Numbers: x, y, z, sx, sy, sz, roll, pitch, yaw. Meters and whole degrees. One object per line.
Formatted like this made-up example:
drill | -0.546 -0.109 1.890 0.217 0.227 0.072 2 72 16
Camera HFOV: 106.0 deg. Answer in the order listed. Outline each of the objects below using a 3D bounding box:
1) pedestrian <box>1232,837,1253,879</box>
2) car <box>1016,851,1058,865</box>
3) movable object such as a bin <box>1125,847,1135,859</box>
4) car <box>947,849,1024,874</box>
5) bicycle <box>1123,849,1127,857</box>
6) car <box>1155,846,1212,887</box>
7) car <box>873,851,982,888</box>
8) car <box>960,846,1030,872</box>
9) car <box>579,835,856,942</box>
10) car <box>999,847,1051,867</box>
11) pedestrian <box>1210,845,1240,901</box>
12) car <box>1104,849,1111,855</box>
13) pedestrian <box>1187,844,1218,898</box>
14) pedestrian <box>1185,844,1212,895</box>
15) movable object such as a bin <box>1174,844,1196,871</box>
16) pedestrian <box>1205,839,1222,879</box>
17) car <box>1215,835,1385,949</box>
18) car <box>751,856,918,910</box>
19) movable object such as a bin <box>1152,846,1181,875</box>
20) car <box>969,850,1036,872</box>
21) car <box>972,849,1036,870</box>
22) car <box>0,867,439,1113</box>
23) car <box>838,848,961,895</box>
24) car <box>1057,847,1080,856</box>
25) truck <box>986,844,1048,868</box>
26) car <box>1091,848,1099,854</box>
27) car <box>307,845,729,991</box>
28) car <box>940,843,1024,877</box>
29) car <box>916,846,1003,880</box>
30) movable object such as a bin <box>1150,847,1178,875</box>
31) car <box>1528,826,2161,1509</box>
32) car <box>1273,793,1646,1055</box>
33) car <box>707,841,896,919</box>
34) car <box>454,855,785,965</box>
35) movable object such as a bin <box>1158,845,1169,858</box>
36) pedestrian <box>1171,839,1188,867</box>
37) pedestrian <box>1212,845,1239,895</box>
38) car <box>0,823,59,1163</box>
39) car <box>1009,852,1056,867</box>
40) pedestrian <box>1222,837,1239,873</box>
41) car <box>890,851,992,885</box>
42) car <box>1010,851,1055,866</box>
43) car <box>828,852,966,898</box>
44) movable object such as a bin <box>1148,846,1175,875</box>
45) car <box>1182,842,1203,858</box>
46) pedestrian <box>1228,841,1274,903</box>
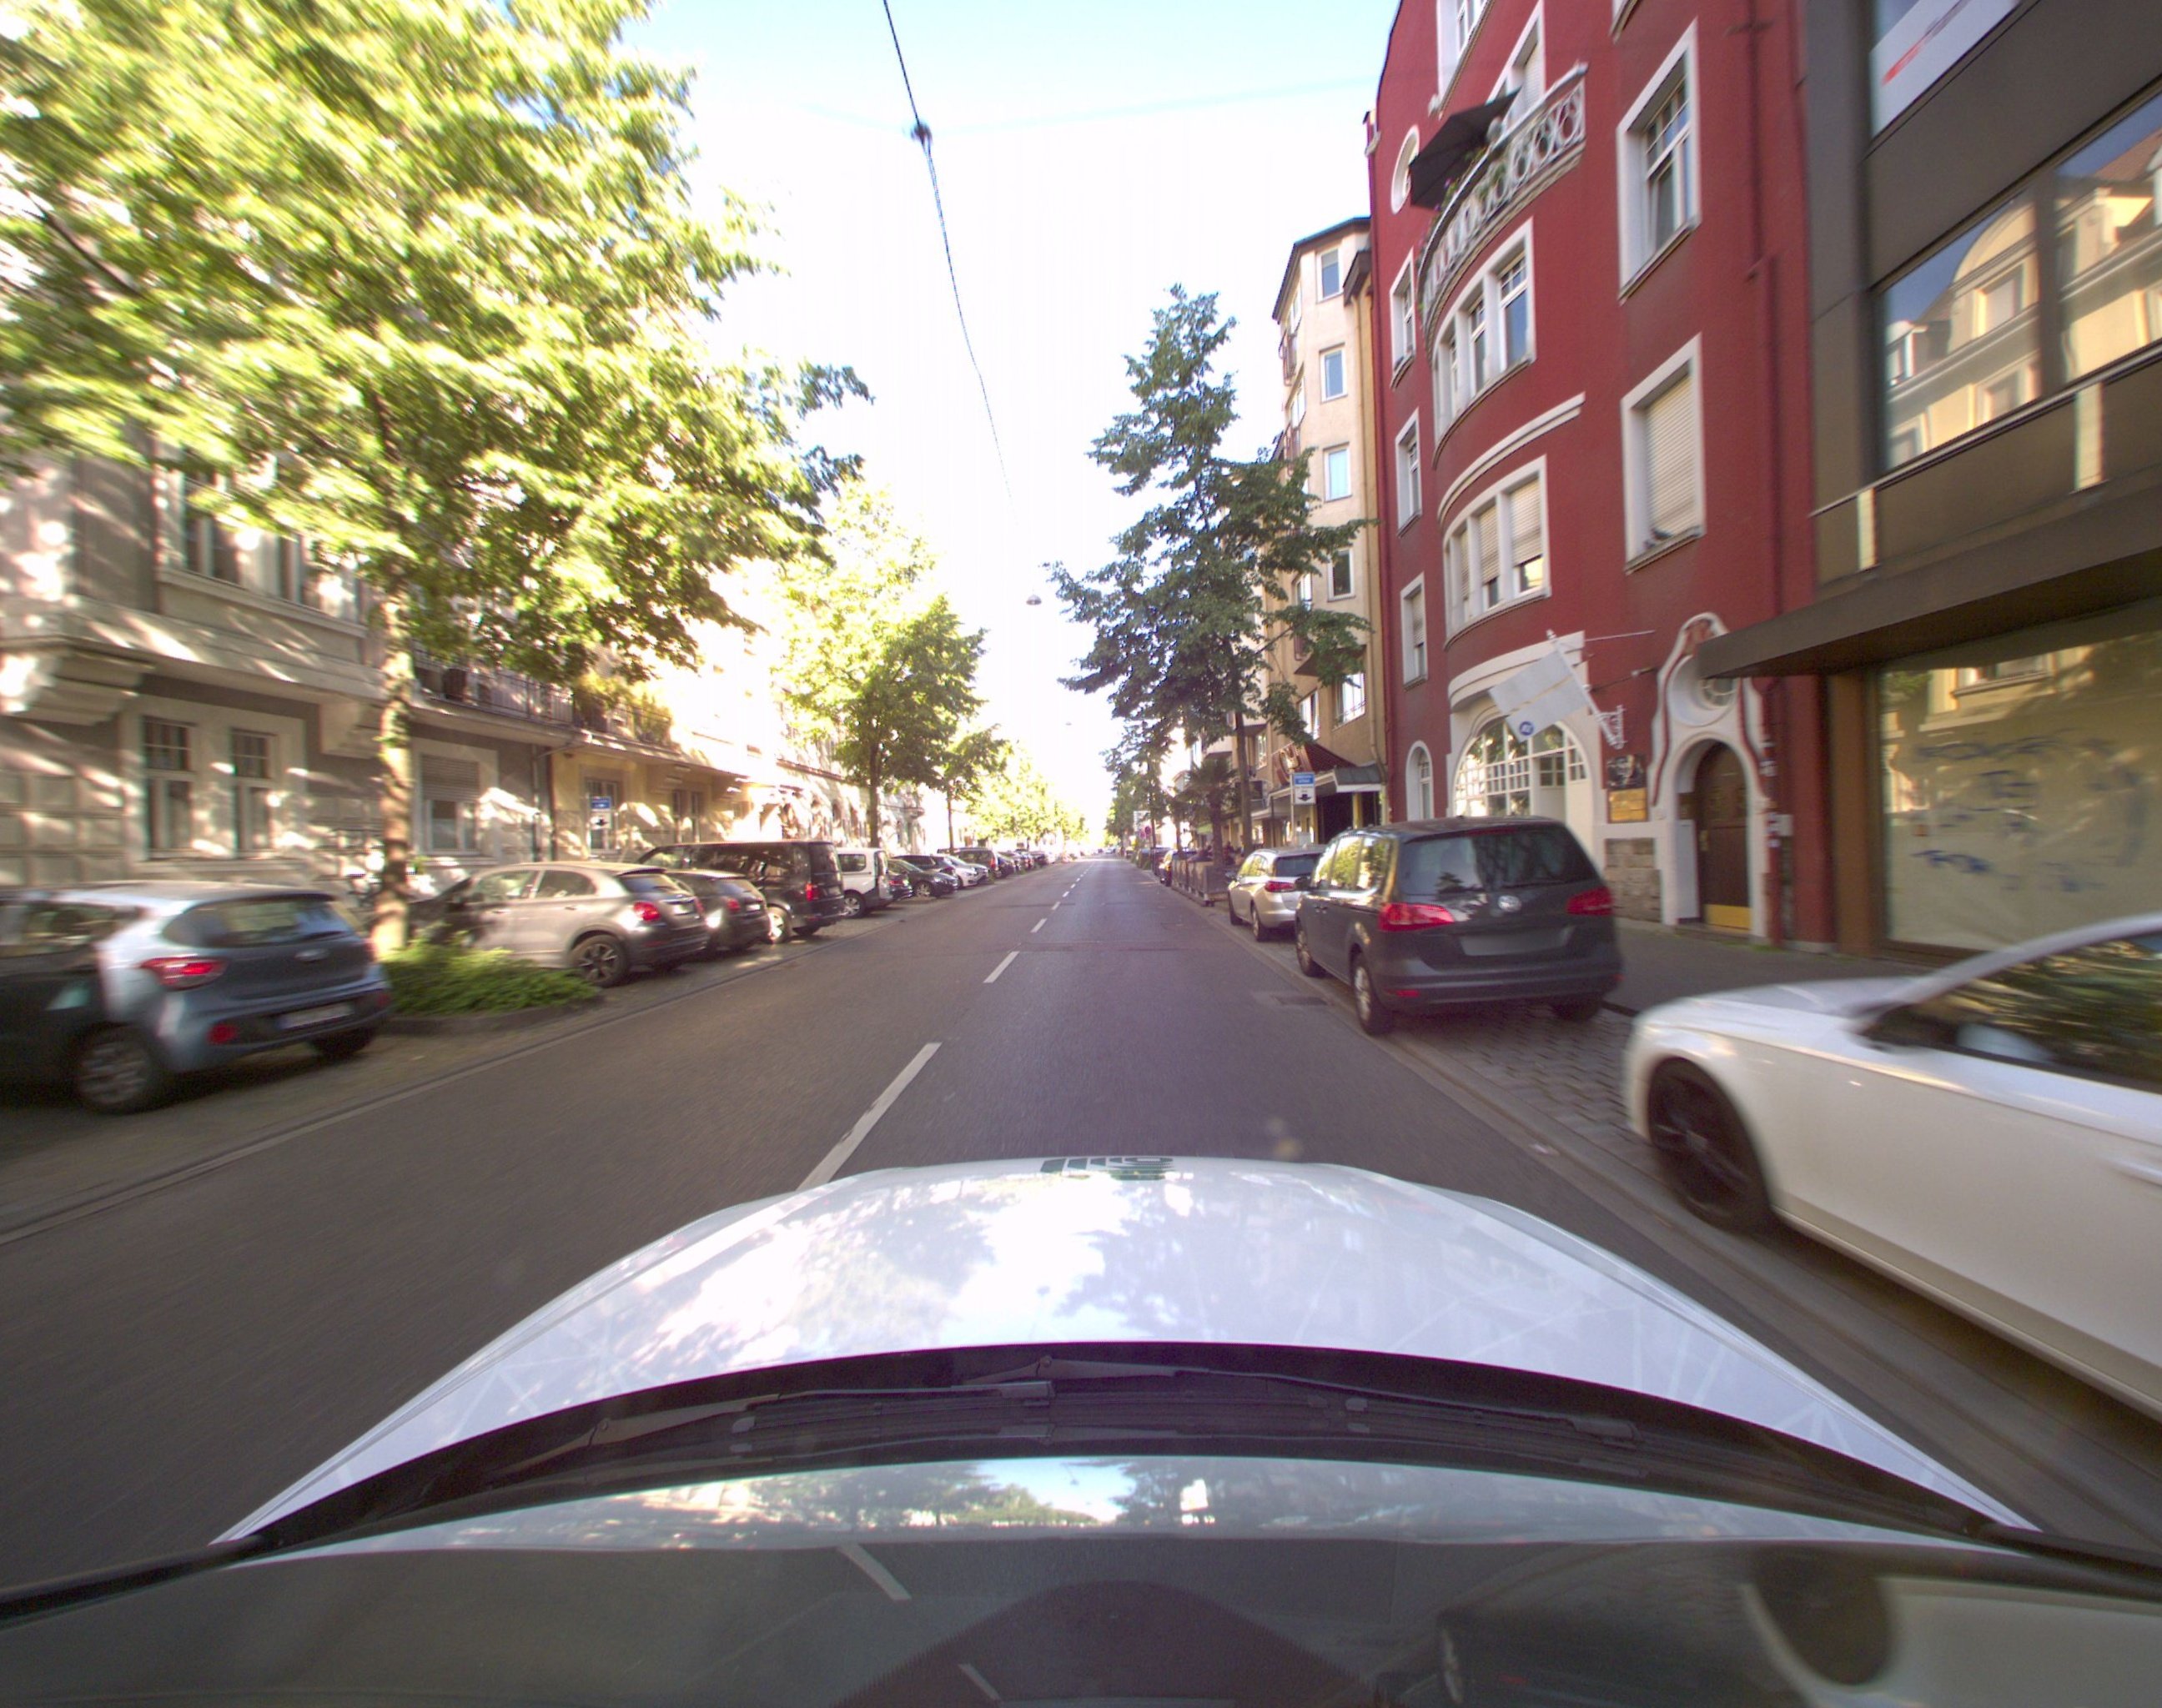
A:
pedestrian | 6.596 0.156 33.303 0.506 1.695 0.623 -2 0 -35
car | -4.936 0.452 91.883 4.667 1.412 1.807 -1 0 -2
movable object such as a bin | 6.205 -0.145 103.191 1.135 1.562 1.463 -2 0 10
car | -6.082 0.479 52.181 4.628 1.459 1.684 -1 0 1
bicycle | 7.535 -0.179 139.350 0.558 1.441 1.629 -8 0 2
car | 4.208 0.457 34.100 1.815 1.472 4.914 -4 0 2
car | -6.772 0.684 36.290 4.451 1.541 1.917 -1 0 0
car | -6.021 0.340 57.508 4.661 1.712 1.809 -1 0 3
car | -7.017 0.643 16.030 4.553 1.926 1.932 -1 0 4
car | -5.220 0.266 76.044 4.661 1.693 1.809 -1 0 3
pedestrian | 4.046 0.526 22.929 0.690 1.536 0.777 -2 0 2
car | 7.238 -0.615 220.699 1.786 1.411 4.002 -2 1 2
pedestrian | 3.603 0.495 24.056 0.743 1.536 0.811 -2 0 16
pedestrian | 3.649 0.459 25.355 0.648 1.536 0.980 -2 0 0
movable object such as a bin | 5.732 0.183 44.966 1.073 1.431 1.296 -2 0 2
pedestrian | 5.771 0.220 35.435 0.614 1.695 0.763 -2 0 2
car | 3.689 0.558 14.674 1.815 1.596 4.844 -4 0 2
car | -7.192 0.834 24.131 4.326 1.439 1.916 -1 0 -1
movable object such as a bin | 4.473 0.316 42.644 1.393 1.453 1.146 -2 0 1
car | -5.796 0.507 60.357 4.661 1.519 1.809 -1 0 3
car | -5.955 0.417 63.226 4.661 1.572 1.809 -1 0 3
car | -7.881 0.928 6.283 4.323 1.544 1.917 -1 0 2
car | -7.025 0.680 31.877 4.323 1.709 1.917 -1 0 1
car | -2.356 -0.477 154.344 3.966 1.694 2.004 -2 0 6
truck | -5.495 0.165 70.651 5.067 1.938 2.000 -2 0 1
car | 3.485 -0.715 204.867 1.796 1.435 4.410 -4 0 1
car | -7.372 0.786 11.039 4.326 1.733 1.916 -1 0 -1
car | -5.887 0.354 48.741 4.661 1.950 1.918 -1 0 3
car | -6.797 0.502 45.859 4.447 1.772 1.918 -1 0 3
movable object such as a bin | 4.444 0.375 43.824 1.393 1.453 1.146 -2 0 1
car | 3.224 0.666 1.882 1.815 1.402 4.845 -4 0 2
car | 3.286 0.491 8.315 1.813 1.777 4.938 -4 0 5
car | -7.152 0.637 21.284 4.337 1.834 1.911 -1 0 -9
car | -7.424 0.855 13.465 4.326 1.595 1.916 -1 0 -1
movable object such as a bin | 10.037 -0.258 99.173 1.266 1.530 1.176 -2 0 0
pedestrian | 7.057 -0.054 58.188 0.916 1.935 0.765 -2 0 27
pedestrian | 4.494 0.487 25.310 0.706 1.536 0.773 -2 0 16
car | -8.006 0.784 3.747 4.321 1.824 1.932 -1 0 3
car | -4.960 0.536 83.907 4.667 1.465 1.807 -1 0 -2
pedestrian | 6.999 0.026 38.177 0.614 1.642 0.763 -2 0 4
car | -6.669 0.643 39.186 4.445 1.541 1.919 -1 0 5
car | -5.094 0.444 86.473 4.667 1.465 1.807 -1 0 -2
car | -6.599 0.729 29.471 4.447 1.541 1.918 -1 0 3
movable object such as a bin | 4.433 0.335 44.989 1.325 1.542 1.146 -2 0 2
car | 12.067 -0.419 88.261 1.893 1.648 4.297 -2 0 3
pedestrian | 4.387 0.461 21.077 1.051 1.536 0.893 -2 0 5
